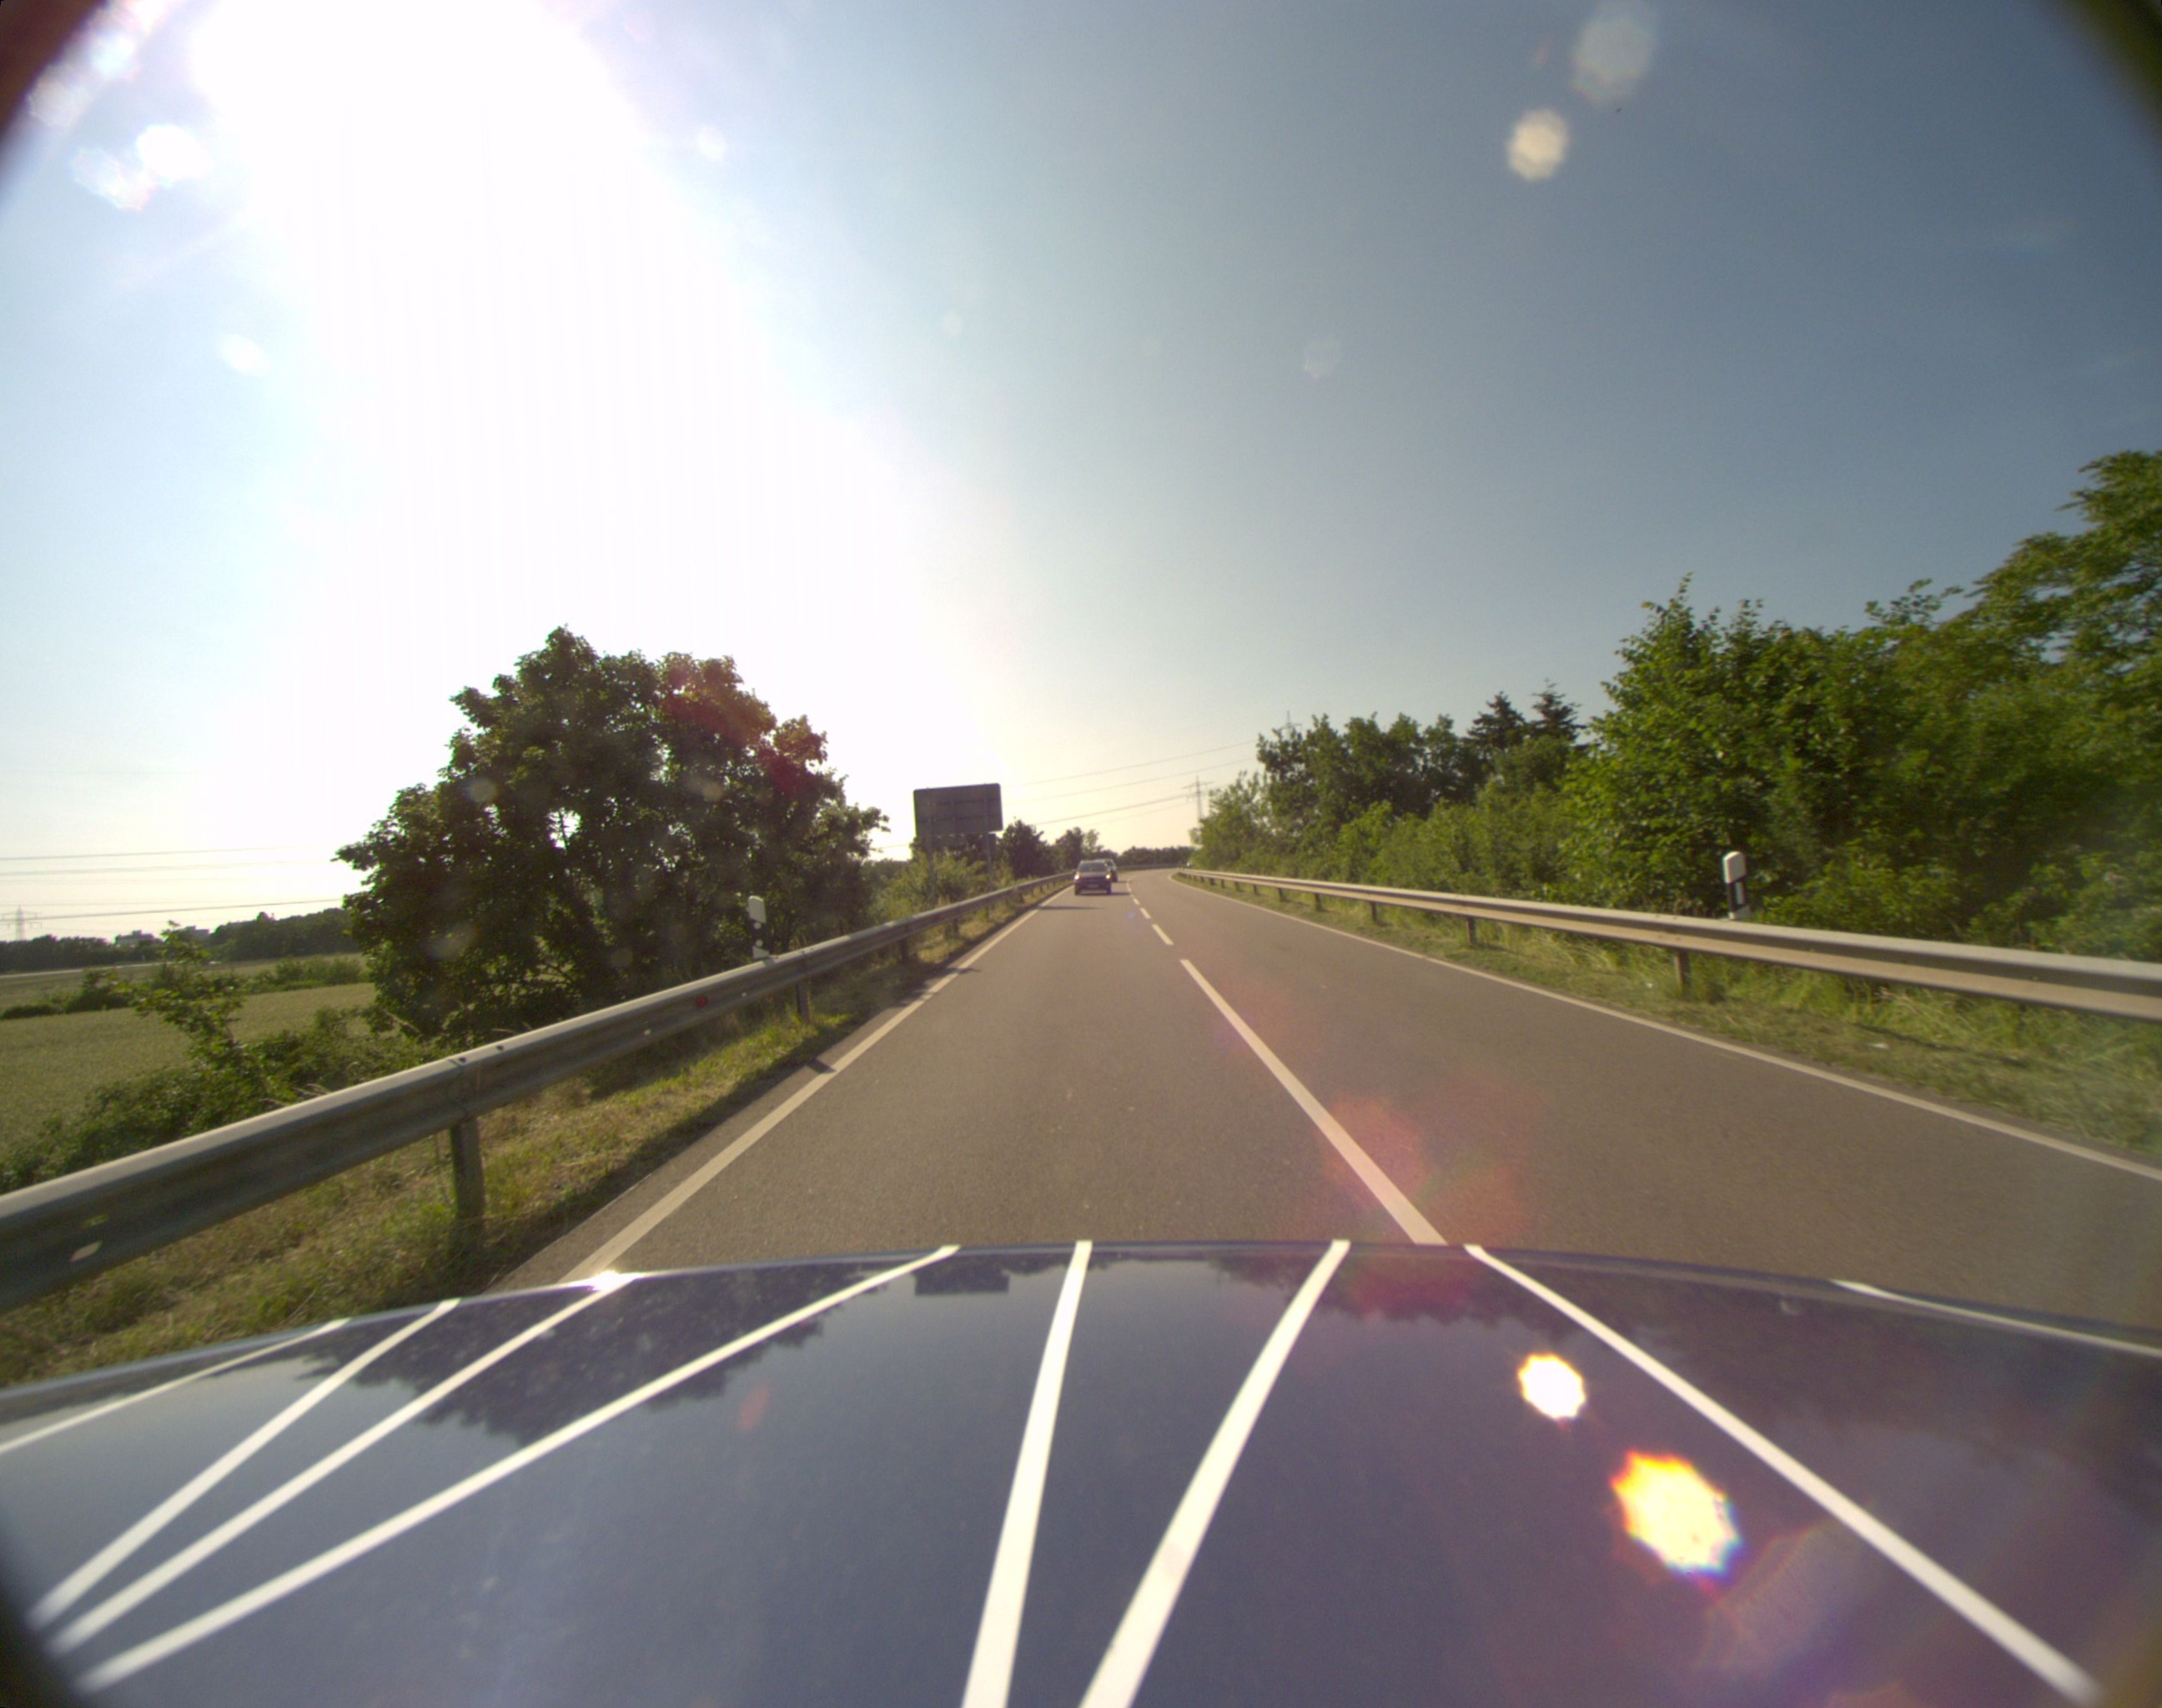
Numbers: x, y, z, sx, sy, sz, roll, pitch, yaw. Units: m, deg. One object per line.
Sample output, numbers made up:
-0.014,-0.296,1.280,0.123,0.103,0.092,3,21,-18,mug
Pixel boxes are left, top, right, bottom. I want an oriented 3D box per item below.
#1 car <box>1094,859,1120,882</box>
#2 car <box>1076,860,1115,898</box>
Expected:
1.906,1.198,55.018,1.606,1.486,4.001,-3,0,4,car
0.672,1.070,34.277,1.606,1.486,4.000,-3,0,1,car
